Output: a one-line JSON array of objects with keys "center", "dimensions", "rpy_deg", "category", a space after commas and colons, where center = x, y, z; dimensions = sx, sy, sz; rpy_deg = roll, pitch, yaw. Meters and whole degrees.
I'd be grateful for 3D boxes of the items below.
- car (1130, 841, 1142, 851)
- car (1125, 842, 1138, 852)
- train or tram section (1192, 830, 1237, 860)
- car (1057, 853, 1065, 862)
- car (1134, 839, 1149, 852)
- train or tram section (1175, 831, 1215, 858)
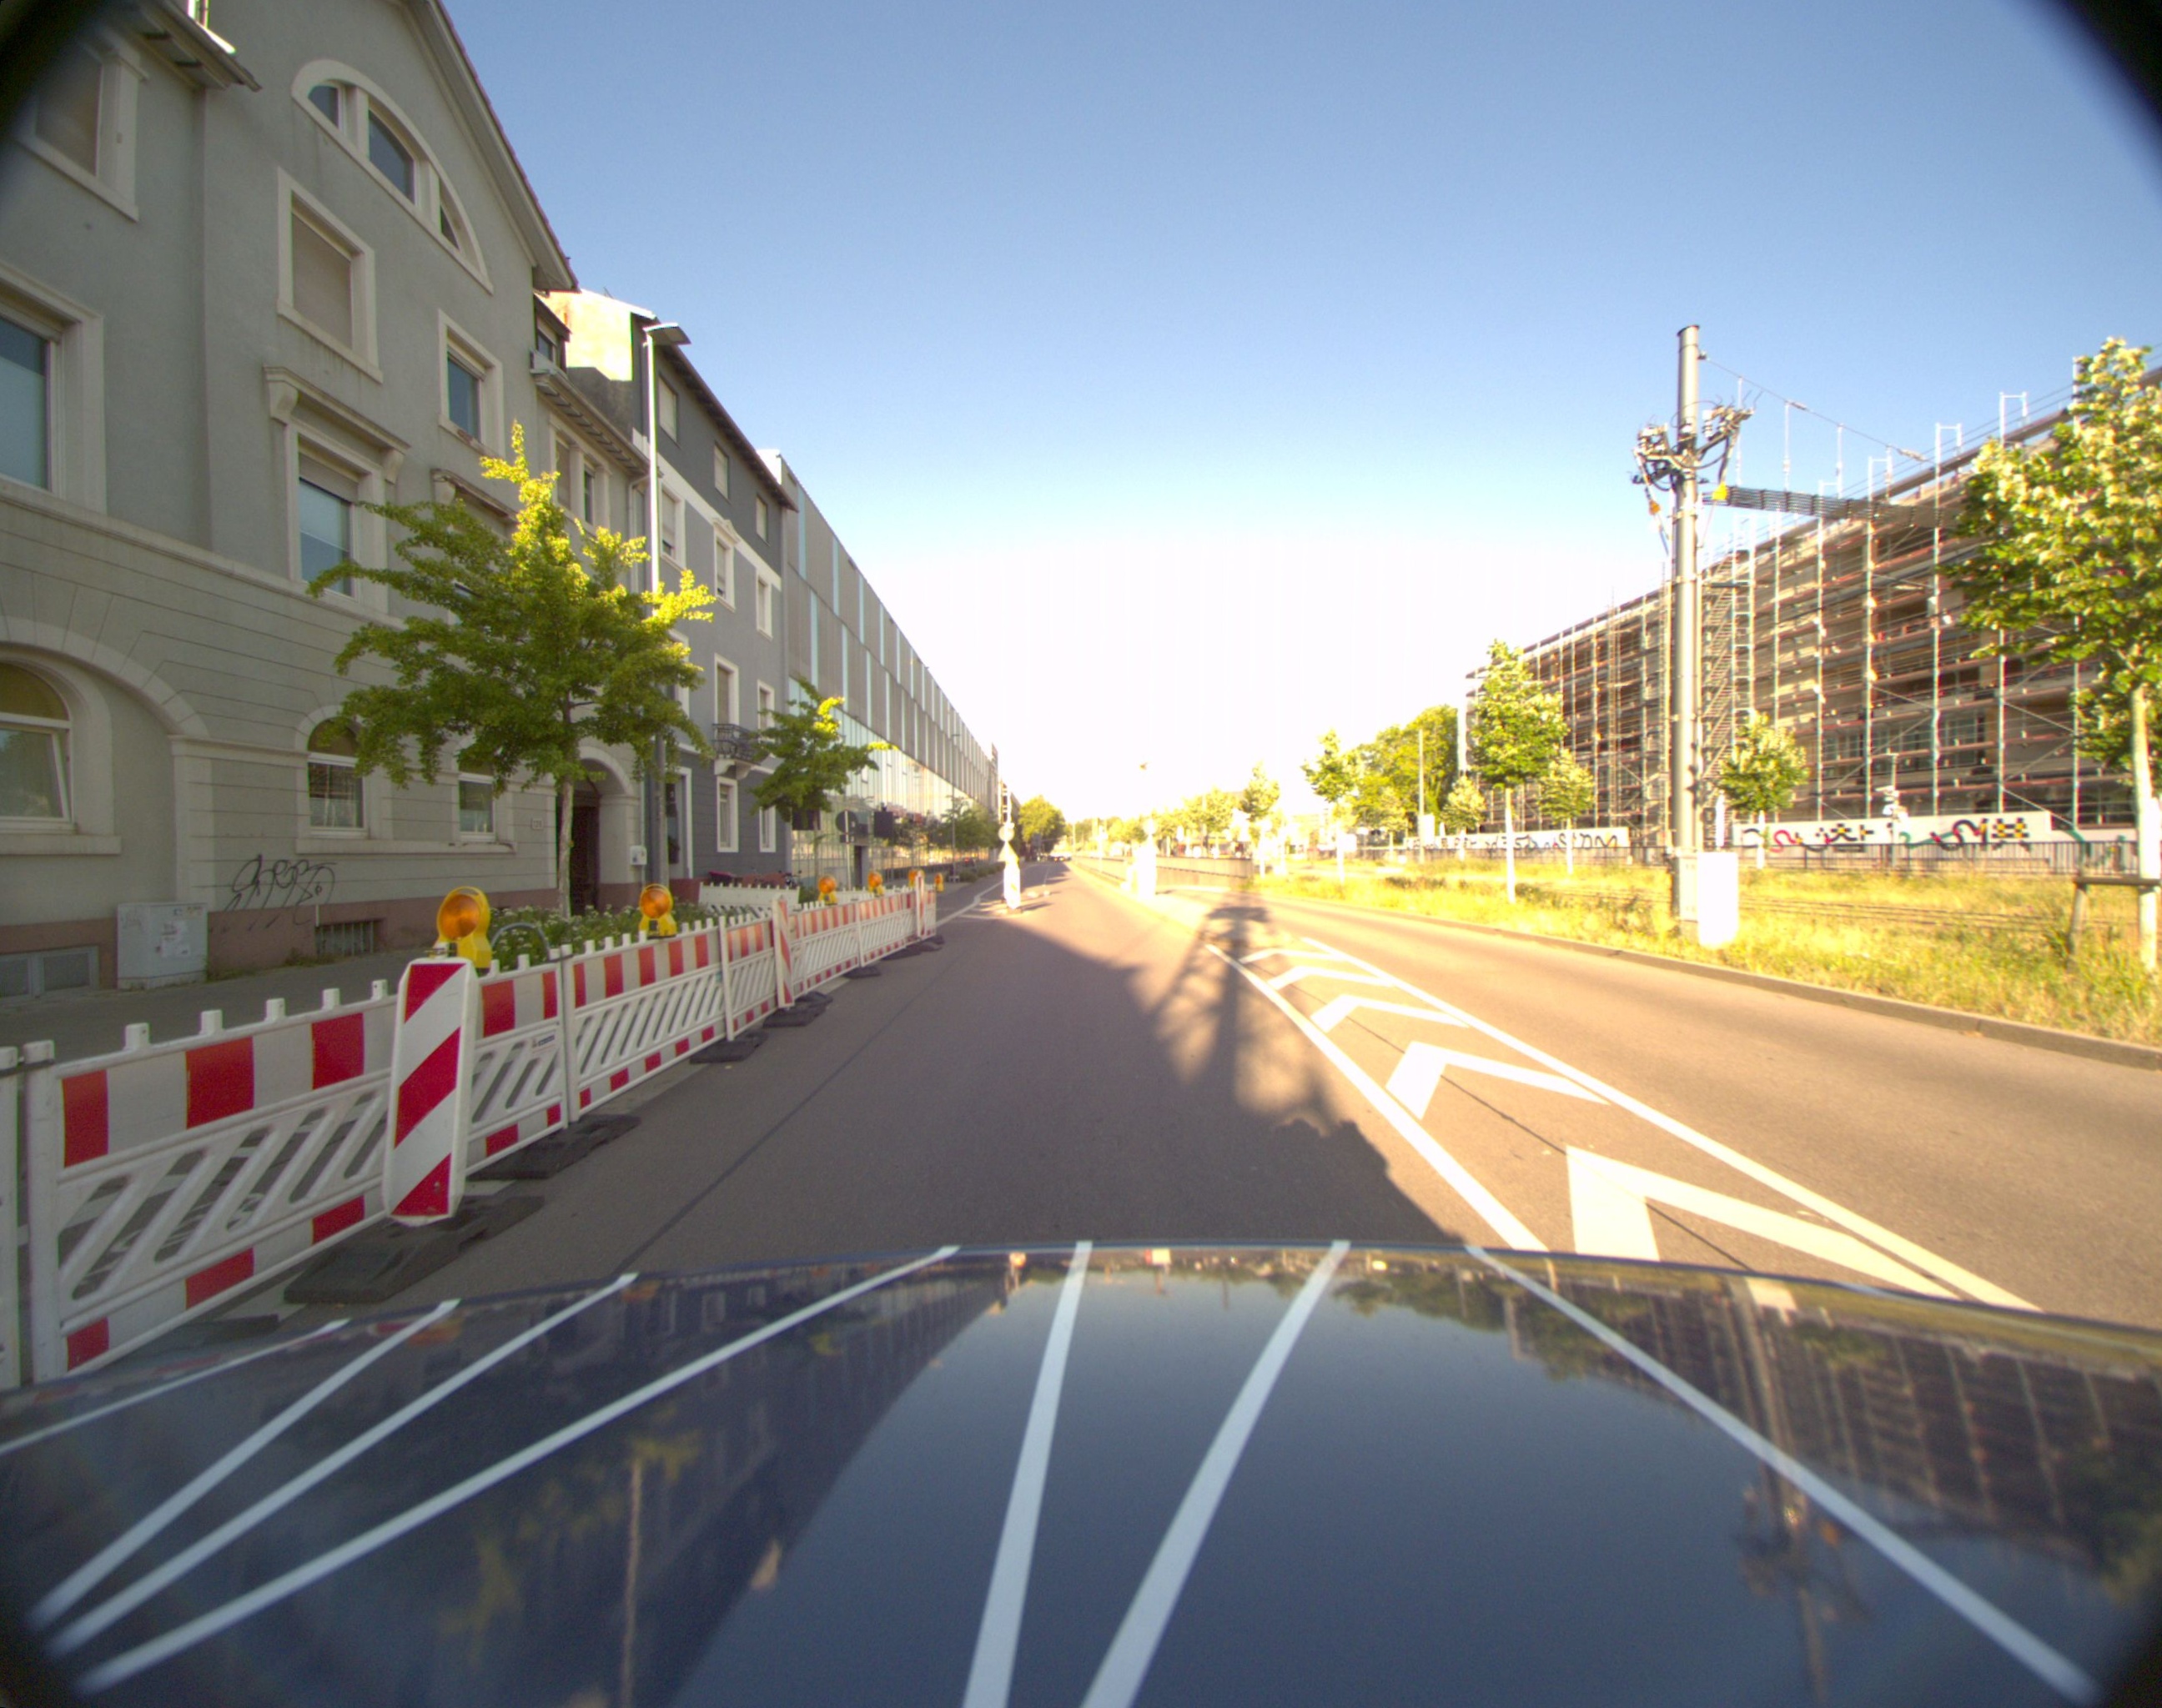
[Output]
[{"center": [10.696, -1.597, 147.364], "dimensions": [1.998, 1.740, 3.999], "rpy_deg": [-2, 1, 1], "category": "car"}, {"center": [8.869, -1.230, 134.305], "dimensions": [1.998, 1.740, 3.999], "rpy_deg": [-2, 1, 1], "category": "car"}, {"center": [16.352, -1.101, 94.237], "dimensions": [2.954, 3.378, 12.630], "rpy_deg": [-2, 1, -2], "category": "train or tram section"}, {"center": [-4.922, 0.808, 187.256], "dimensions": [1.941, 2.002, 3.825], "rpy_deg": [-1, 0, -3], "category": "car"}, {"center": [9.718, -1.419, 122.666], "dimensions": [1.998, 2.002, 3.999], "rpy_deg": [-2, 1, 1], "category": "car"}, {"center": [15.983, -1.318, 107.886], "dimensions": [2.954, 3.378, 14.761], "rpy_deg": [-2, 1, -2], "category": "train or tram section"}]
